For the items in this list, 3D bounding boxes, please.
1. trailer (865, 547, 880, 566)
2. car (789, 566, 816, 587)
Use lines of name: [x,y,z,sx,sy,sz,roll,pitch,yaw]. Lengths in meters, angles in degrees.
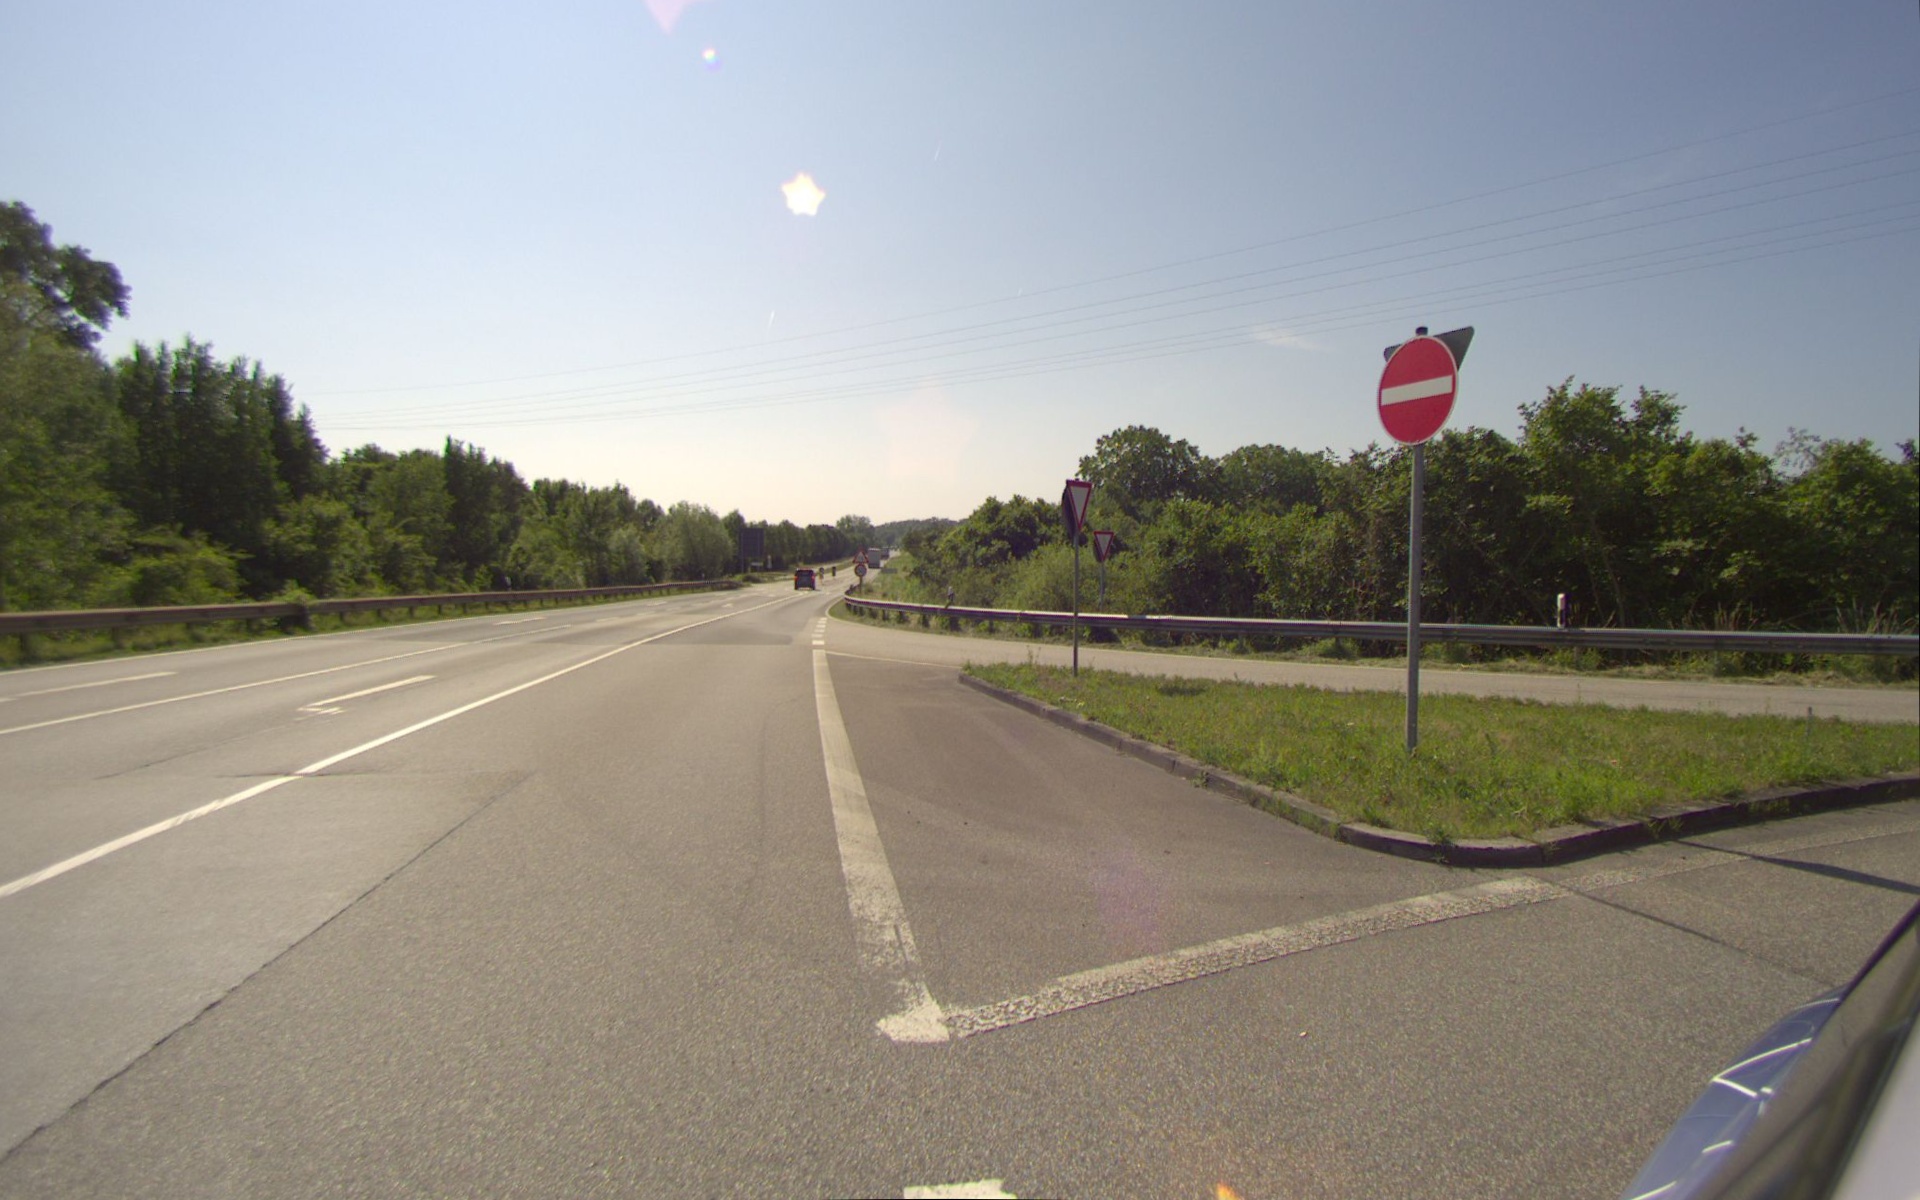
trailer: [-19.244,-9.539,222.893,2.873,4.060,13.428,0,2,-3]
car: [-14.417,-2.123,92.760,1.961,1.903,4.997,0,1,-3]
